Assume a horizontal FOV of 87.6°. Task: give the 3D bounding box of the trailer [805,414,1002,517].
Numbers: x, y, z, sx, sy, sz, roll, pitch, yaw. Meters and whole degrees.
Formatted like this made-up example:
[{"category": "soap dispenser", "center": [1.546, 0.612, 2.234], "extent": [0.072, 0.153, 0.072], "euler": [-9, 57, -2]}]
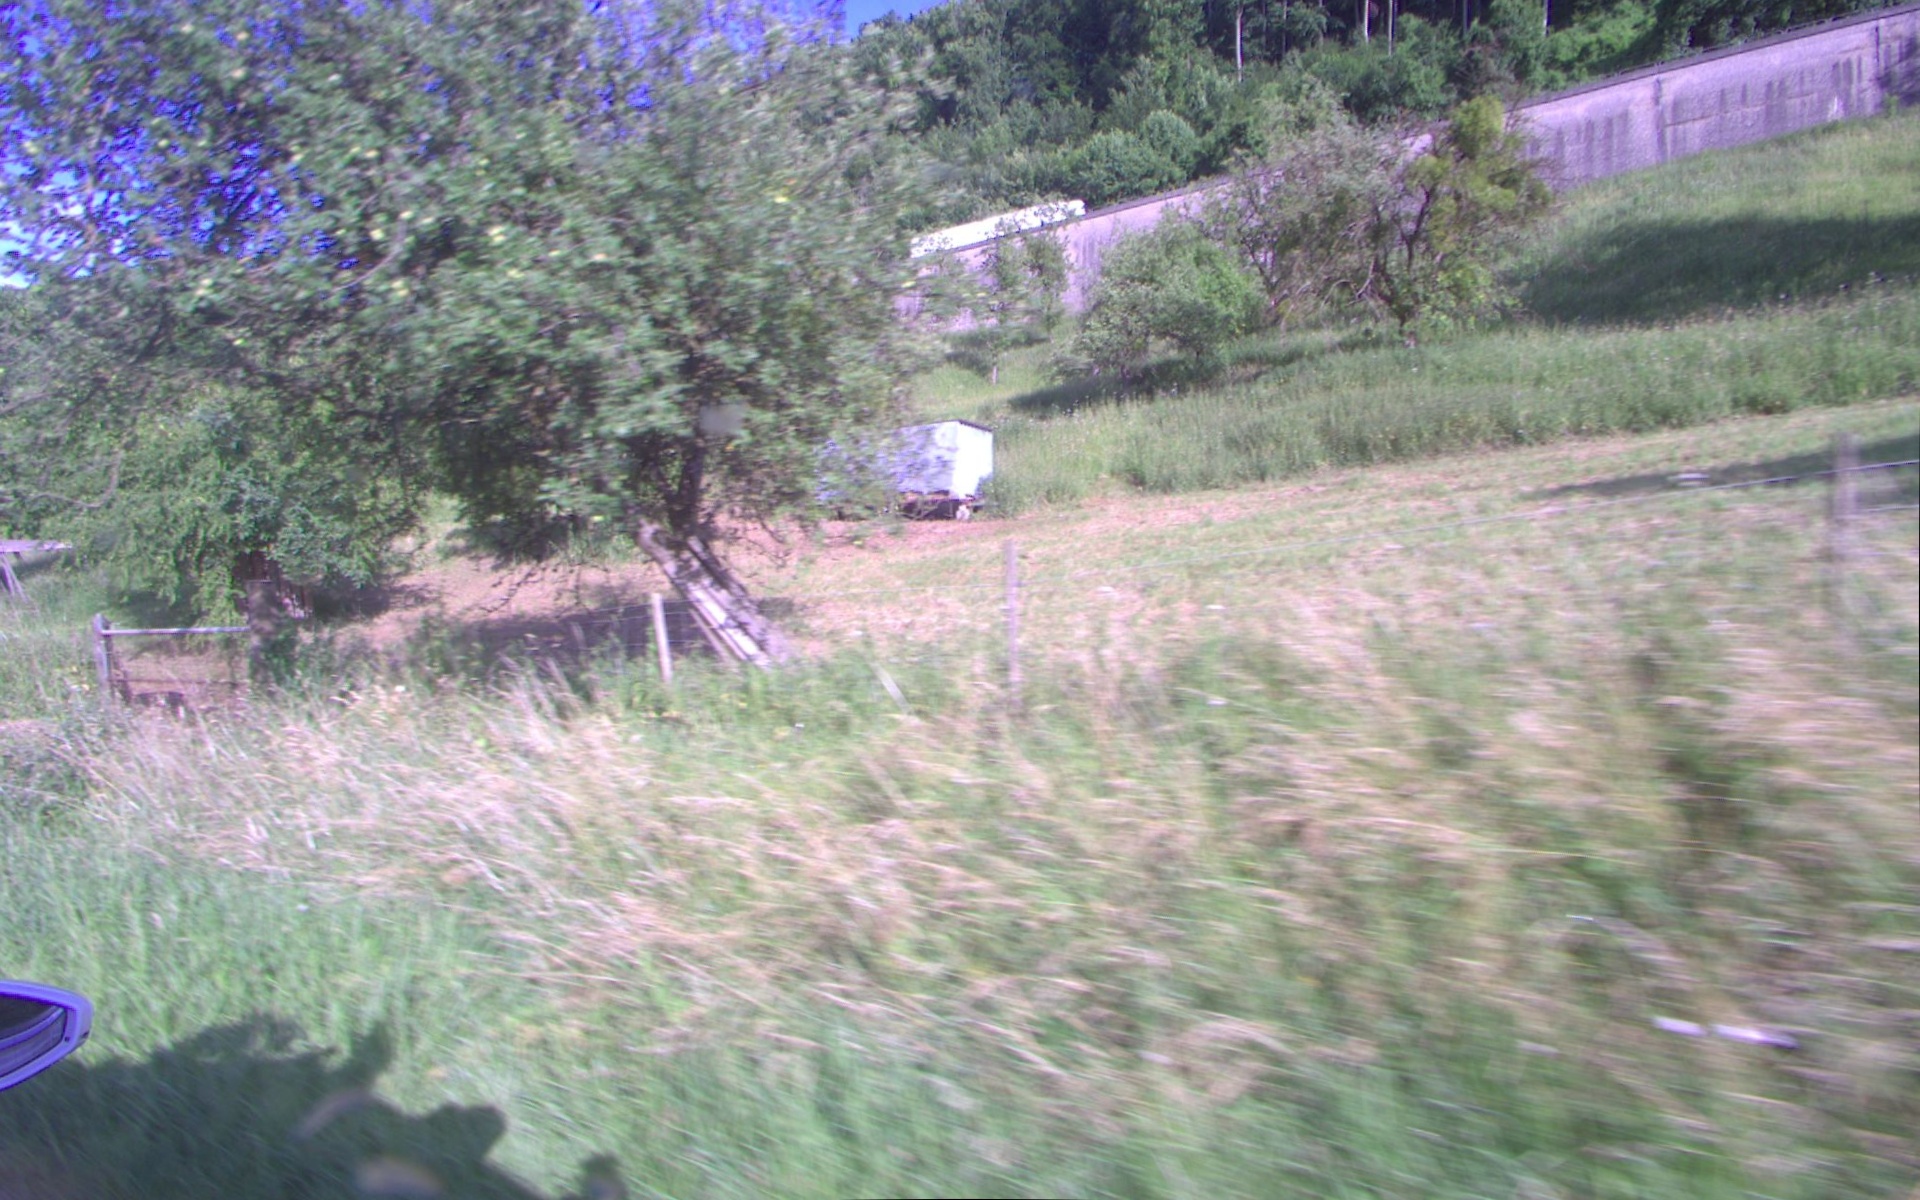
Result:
[{"category": "trailer", "center": [-1.629, -3.673, 28.158], "extent": [5.163, 2.595, 2.149], "euler": [3, 4, 28]}]
